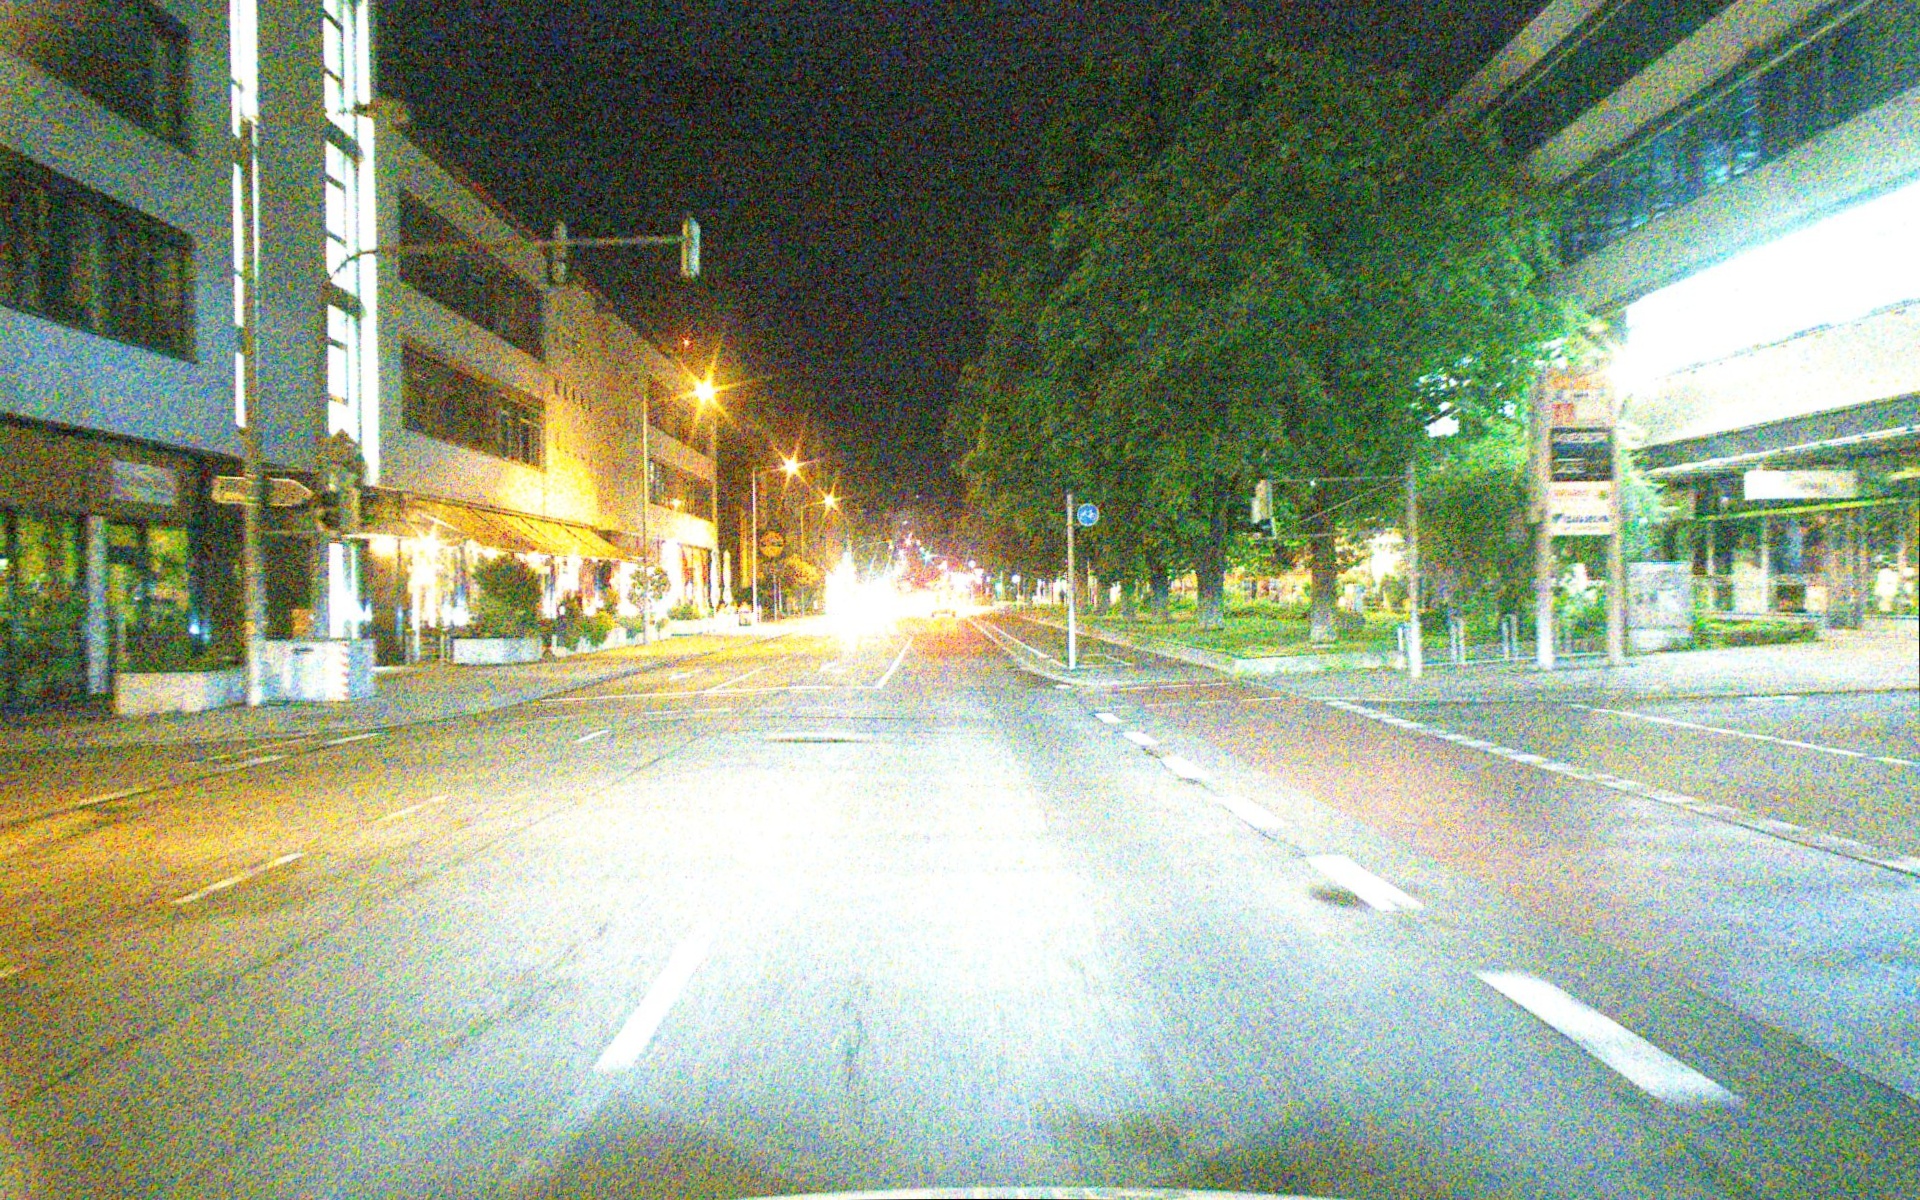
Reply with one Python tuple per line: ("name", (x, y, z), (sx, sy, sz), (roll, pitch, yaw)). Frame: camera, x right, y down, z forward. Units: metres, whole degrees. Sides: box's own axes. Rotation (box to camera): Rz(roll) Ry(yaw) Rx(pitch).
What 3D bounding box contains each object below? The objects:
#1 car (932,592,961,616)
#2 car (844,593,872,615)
("car", (-1.000, 0.269, 118.954), (1.953, 1.672, 3.999), (-2, 0, -1))
("car", (-8.050, 0.312, 130.782), (1.953, 1.672, 3.999), (-2, 0, -2))
